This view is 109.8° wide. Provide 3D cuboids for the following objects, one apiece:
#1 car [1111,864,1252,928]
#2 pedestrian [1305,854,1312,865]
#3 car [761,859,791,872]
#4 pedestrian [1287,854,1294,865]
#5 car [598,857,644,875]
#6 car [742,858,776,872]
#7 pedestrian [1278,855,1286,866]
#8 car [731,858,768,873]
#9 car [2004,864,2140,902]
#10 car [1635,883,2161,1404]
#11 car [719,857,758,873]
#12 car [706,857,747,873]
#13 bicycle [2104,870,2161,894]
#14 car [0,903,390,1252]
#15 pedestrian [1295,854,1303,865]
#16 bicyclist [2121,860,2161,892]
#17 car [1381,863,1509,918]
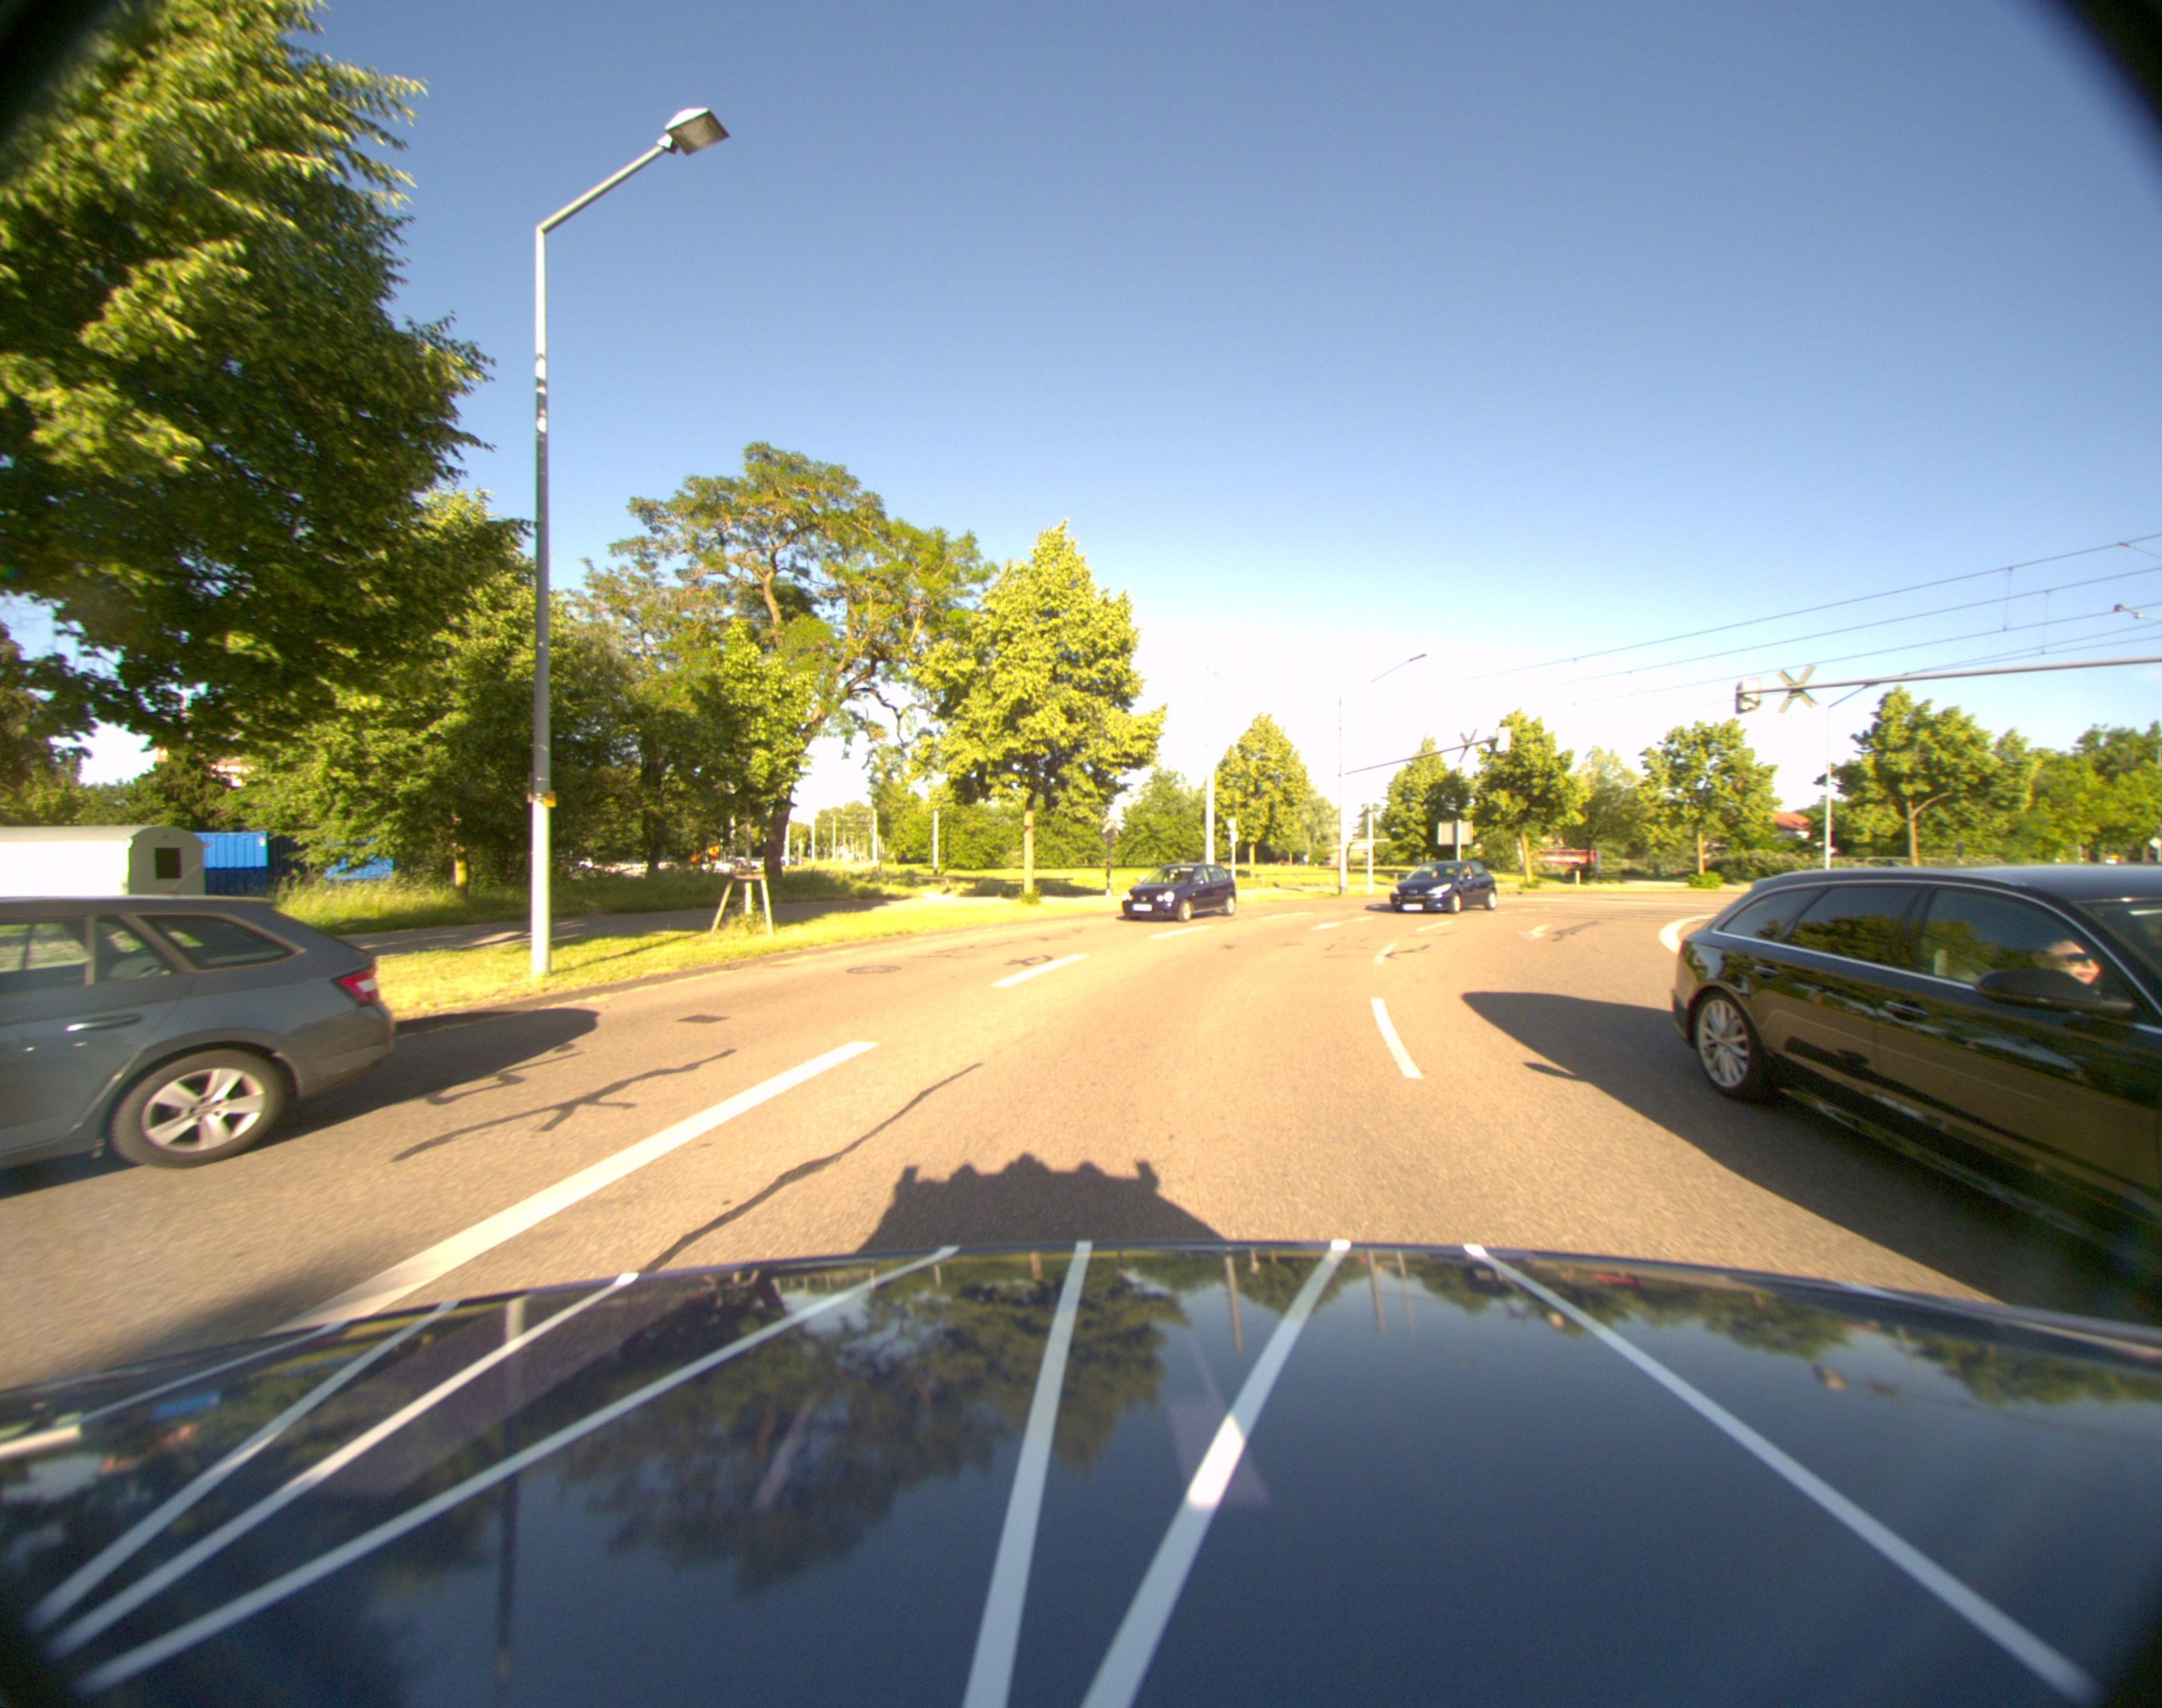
[{"bbox_3d":[2.804,1.031,20.292,1.633,1.459,4.556,0,0,38],"label":"car"},{"bbox_3d":[29.272,0.679,97.754,0.660,1.432,0.796,1,0,32],"label":"pedestrian"},{"bbox_3d":[-47.534,1.799,118.412,4.002,1.745,1.912,-2,0,-14],"label":"car"},{"bbox_3d":[27.271,0.755,98.816,0.685,1.432,0.796,1,0,32],"label":"pedestrian"},{"bbox_3d":[-53.038,1.345,87.677,4.002,1.885,1.998,-2,0,-14],"label":"car"},{"bbox_3d":[-44.034,1.542,103.917,4.002,1.745,1.912,-2,0,-14],"label":"car"},{"bbox_3d":[26.348,0.792,99.599,0.685,1.432,0.796,1,0,32],"label":"pedestrian"},{"bbox_3d":[-42.419,1.424,97.272,4.002,1.745,1.912,-2,0,-14],"label":"car"},{"bbox_3d":[41.677,1.193,31.992,4.068,1.371,1.723,-2,0,-8],"label":"car"},{"bbox_3d":[4.359,0.930,2.979,1.795,1.435,5.023,-1,0,14],"label":"car"},{"bbox_3d":[-41.614,1.349,92.300,4.002,1.745,1.912,-2,0,-14],"label":"car"},{"bbox_3d":[-41.307,1.303,88.625,4.002,1.745,1.998,-2,0,-14],"label":"car"},{"bbox_3d":[54.612,1.459,39.049,2.211,1.148,0.878,1,2,25],"label":"bicycle"},{"bbox_3d":[-5.905,1.067,3.134,1.715,1.427,4.159,-1,0,28],"label":"car"},{"bbox_3d":[28.310,0.718,98.601,0.772,1.432,0.796,1,0,32],"label":"pedestrian"},{"bbox_3d":[54.636,1.131,39.033,1.085,1.553,0.878,1,2,25],"label":"bicyclist"},{"bbox_3d":[10.634,0.999,22.096,4.008,1.445,1.753,0,-1,-38],"label":"car"}]
